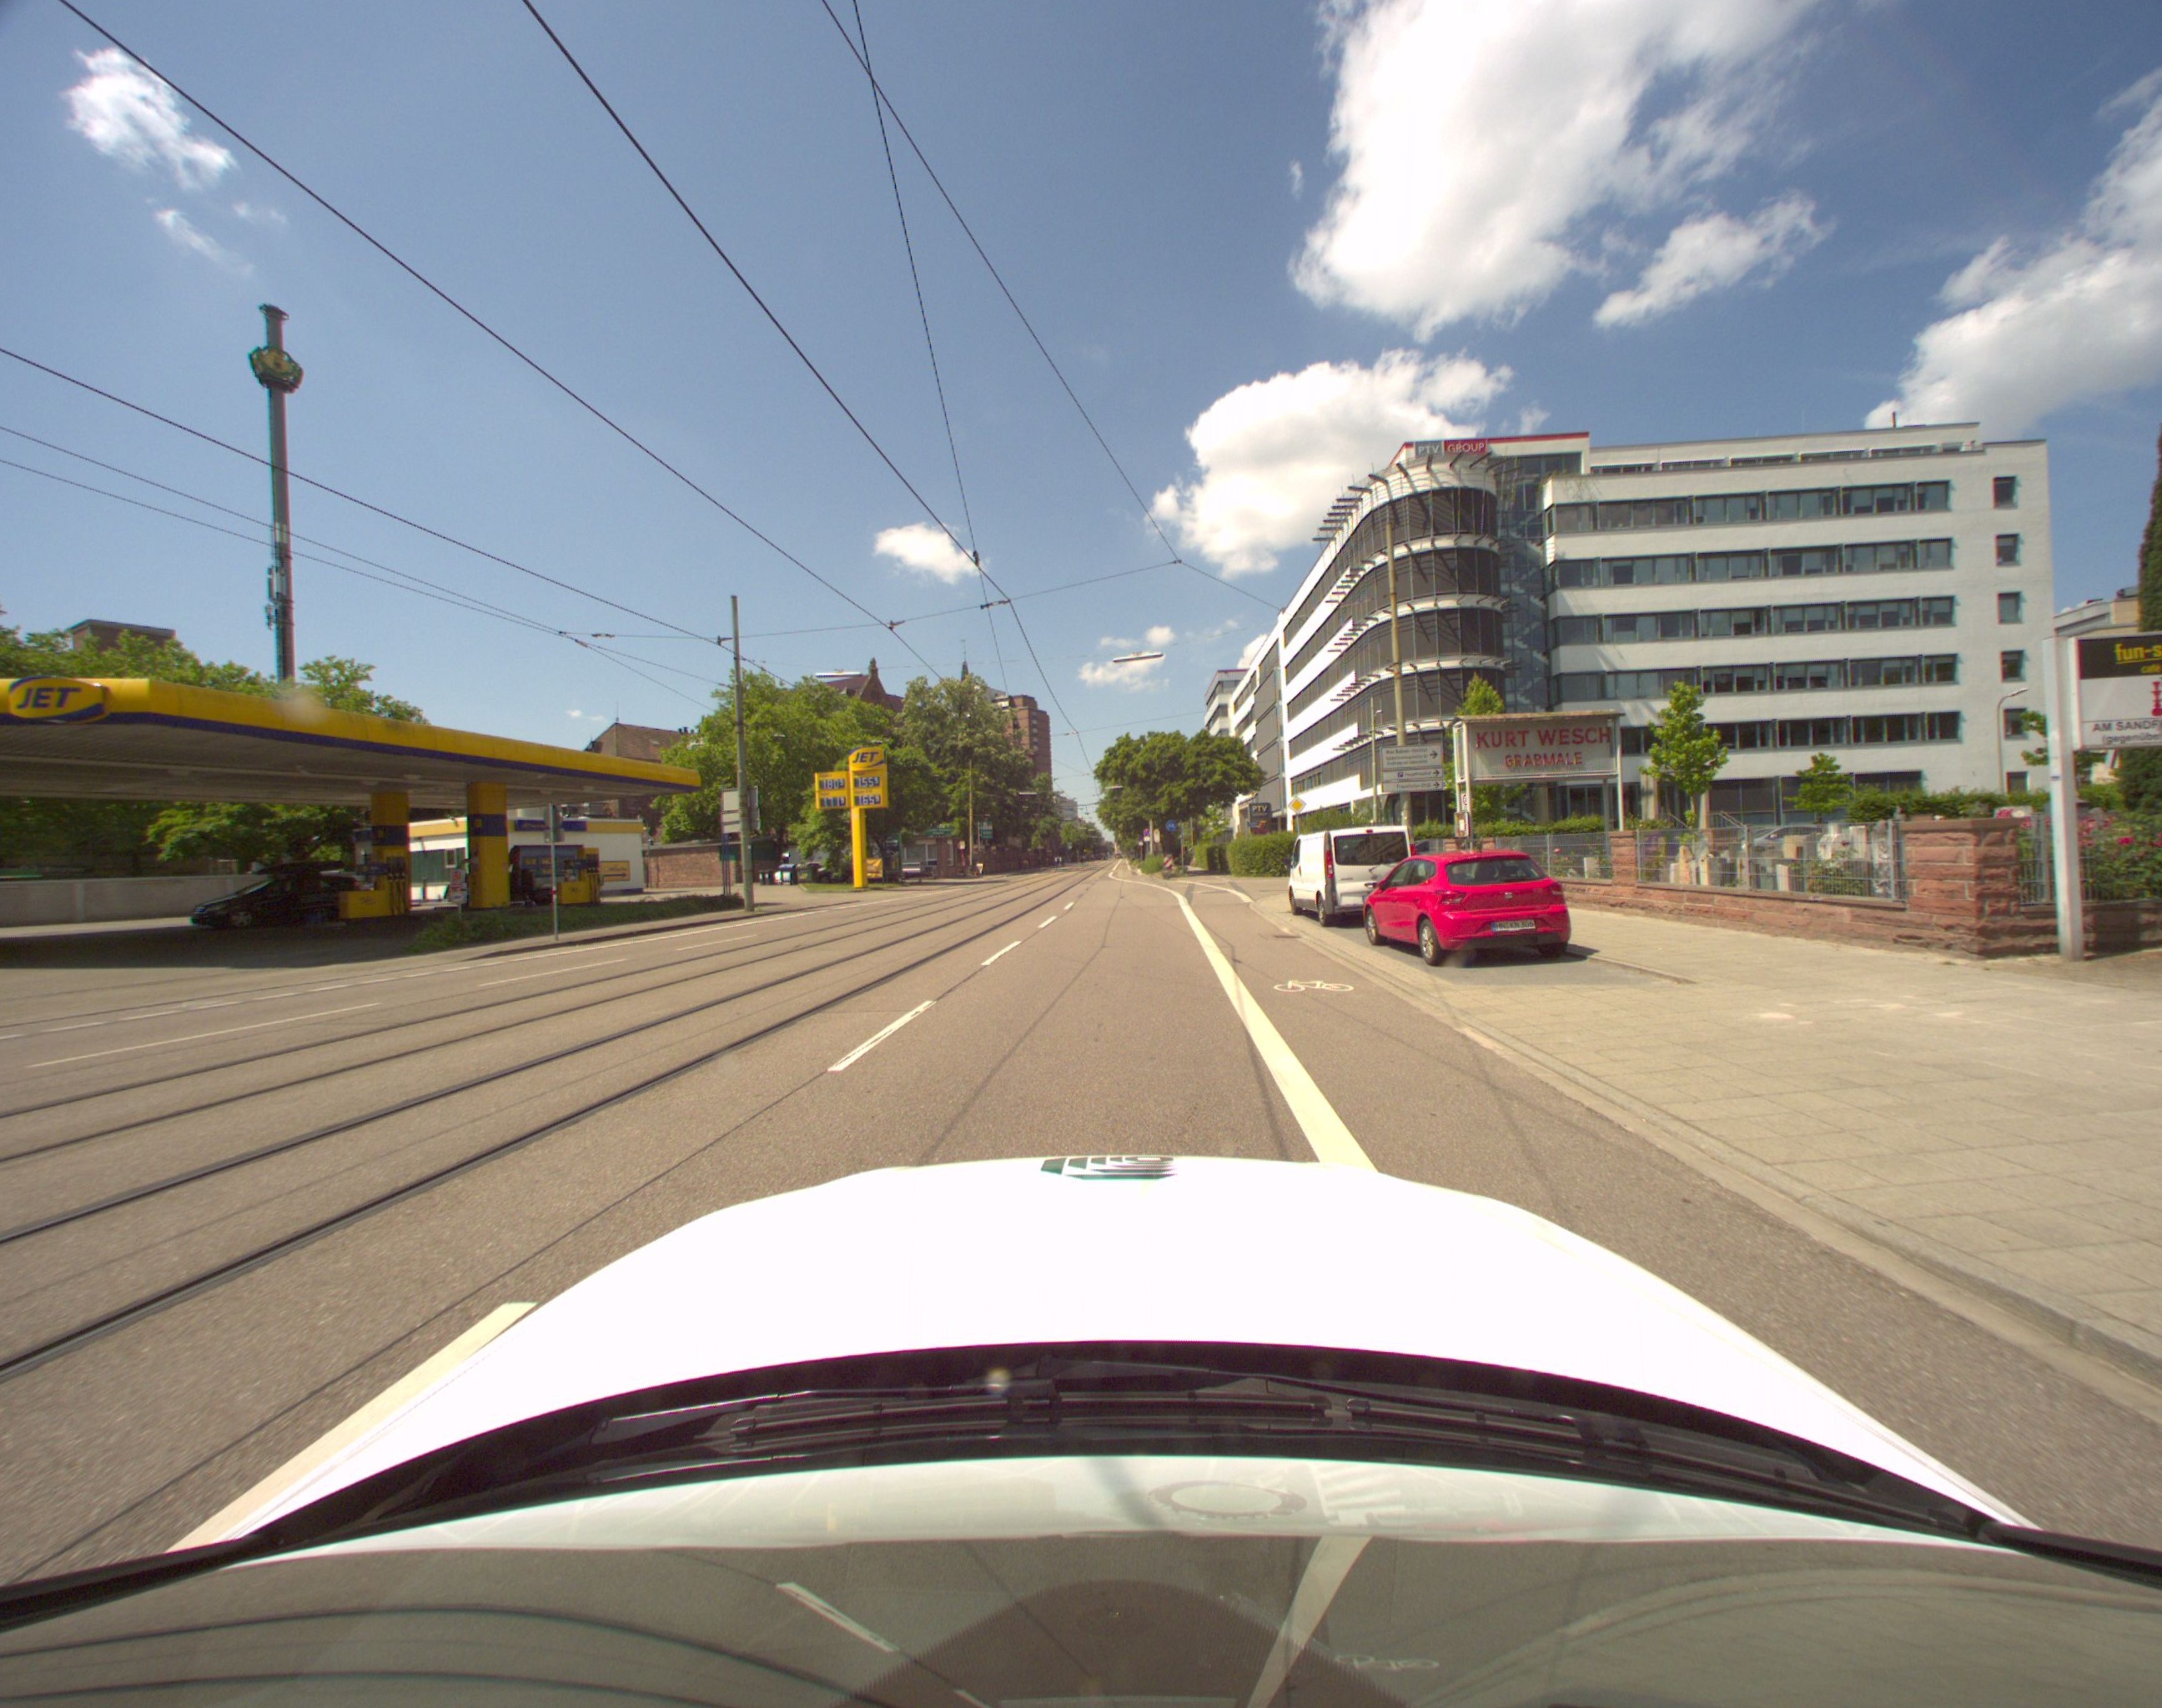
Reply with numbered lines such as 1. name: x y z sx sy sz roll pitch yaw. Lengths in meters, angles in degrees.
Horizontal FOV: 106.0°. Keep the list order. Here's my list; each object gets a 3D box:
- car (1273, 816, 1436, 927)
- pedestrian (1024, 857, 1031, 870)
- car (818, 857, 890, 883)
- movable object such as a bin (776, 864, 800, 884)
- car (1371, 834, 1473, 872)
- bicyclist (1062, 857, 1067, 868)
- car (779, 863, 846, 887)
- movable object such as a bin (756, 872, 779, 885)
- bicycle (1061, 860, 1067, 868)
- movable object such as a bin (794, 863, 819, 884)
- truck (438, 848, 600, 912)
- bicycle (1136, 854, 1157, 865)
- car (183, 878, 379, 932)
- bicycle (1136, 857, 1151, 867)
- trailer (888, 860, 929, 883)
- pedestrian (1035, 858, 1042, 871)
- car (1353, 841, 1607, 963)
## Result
1. car: 5.894 0.331 18.394 1.985 1.991 5.519 -4 0 3
2. pedestrian: -7.468 1.356 113.834 0.740 1.728 0.868 -2 -1 3
3. car: -15.834 1.102 56.929 4.358 1.590 1.975 -2 0 -43
4. movable object such as a bin: -20.219 1.373 56.248 1.334 1.354 0.761 -2 0 15
5. car: 14.393 -0.045 34.546 3.586 1.451 1.760 -2 0 3
6. bicyclist: -2.656 1.369 130.494 0.640 1.679 0.815 -3 -1 0
7. car: -19.923 1.550 60.551 4.356 1.592 1.888 -2 0 -40
8. movable object such as a bin: -21.939 1.699 57.009 1.332 0.873 0.762 -2 0 23
9. bicycle: -2.657 1.659 130.293 0.698 1.204 2.242 -4 -1 3
10. movable object such as a bin: -18.646 1.334 55.346 1.339 1.354 0.758 -2 0 1
11. truck: -23.628 1.034 34.468 1.974 2.498 5.237 -3 -1 33
12. bicycle: 8.236 0.706 102.623 2.497 1.209 0.649 -3 -1 7
13. car: -27.086 1.682 27.721 1.974 1.479 4.370 -3 0 31
14. bicycle: 7.774 0.967 101.538 1.746 1.165 0.530 -2 -1 0
15. trailer: -13.889 1.371 65.624 2.818 1.704 1.623 -2 0 3
16. pedestrian: -5.854 1.449 113.289 0.811 1.770 0.925 -2 -1 2
17. car: 5.487 0.579 11.857 1.984 1.442 4.022 -2 0 5
